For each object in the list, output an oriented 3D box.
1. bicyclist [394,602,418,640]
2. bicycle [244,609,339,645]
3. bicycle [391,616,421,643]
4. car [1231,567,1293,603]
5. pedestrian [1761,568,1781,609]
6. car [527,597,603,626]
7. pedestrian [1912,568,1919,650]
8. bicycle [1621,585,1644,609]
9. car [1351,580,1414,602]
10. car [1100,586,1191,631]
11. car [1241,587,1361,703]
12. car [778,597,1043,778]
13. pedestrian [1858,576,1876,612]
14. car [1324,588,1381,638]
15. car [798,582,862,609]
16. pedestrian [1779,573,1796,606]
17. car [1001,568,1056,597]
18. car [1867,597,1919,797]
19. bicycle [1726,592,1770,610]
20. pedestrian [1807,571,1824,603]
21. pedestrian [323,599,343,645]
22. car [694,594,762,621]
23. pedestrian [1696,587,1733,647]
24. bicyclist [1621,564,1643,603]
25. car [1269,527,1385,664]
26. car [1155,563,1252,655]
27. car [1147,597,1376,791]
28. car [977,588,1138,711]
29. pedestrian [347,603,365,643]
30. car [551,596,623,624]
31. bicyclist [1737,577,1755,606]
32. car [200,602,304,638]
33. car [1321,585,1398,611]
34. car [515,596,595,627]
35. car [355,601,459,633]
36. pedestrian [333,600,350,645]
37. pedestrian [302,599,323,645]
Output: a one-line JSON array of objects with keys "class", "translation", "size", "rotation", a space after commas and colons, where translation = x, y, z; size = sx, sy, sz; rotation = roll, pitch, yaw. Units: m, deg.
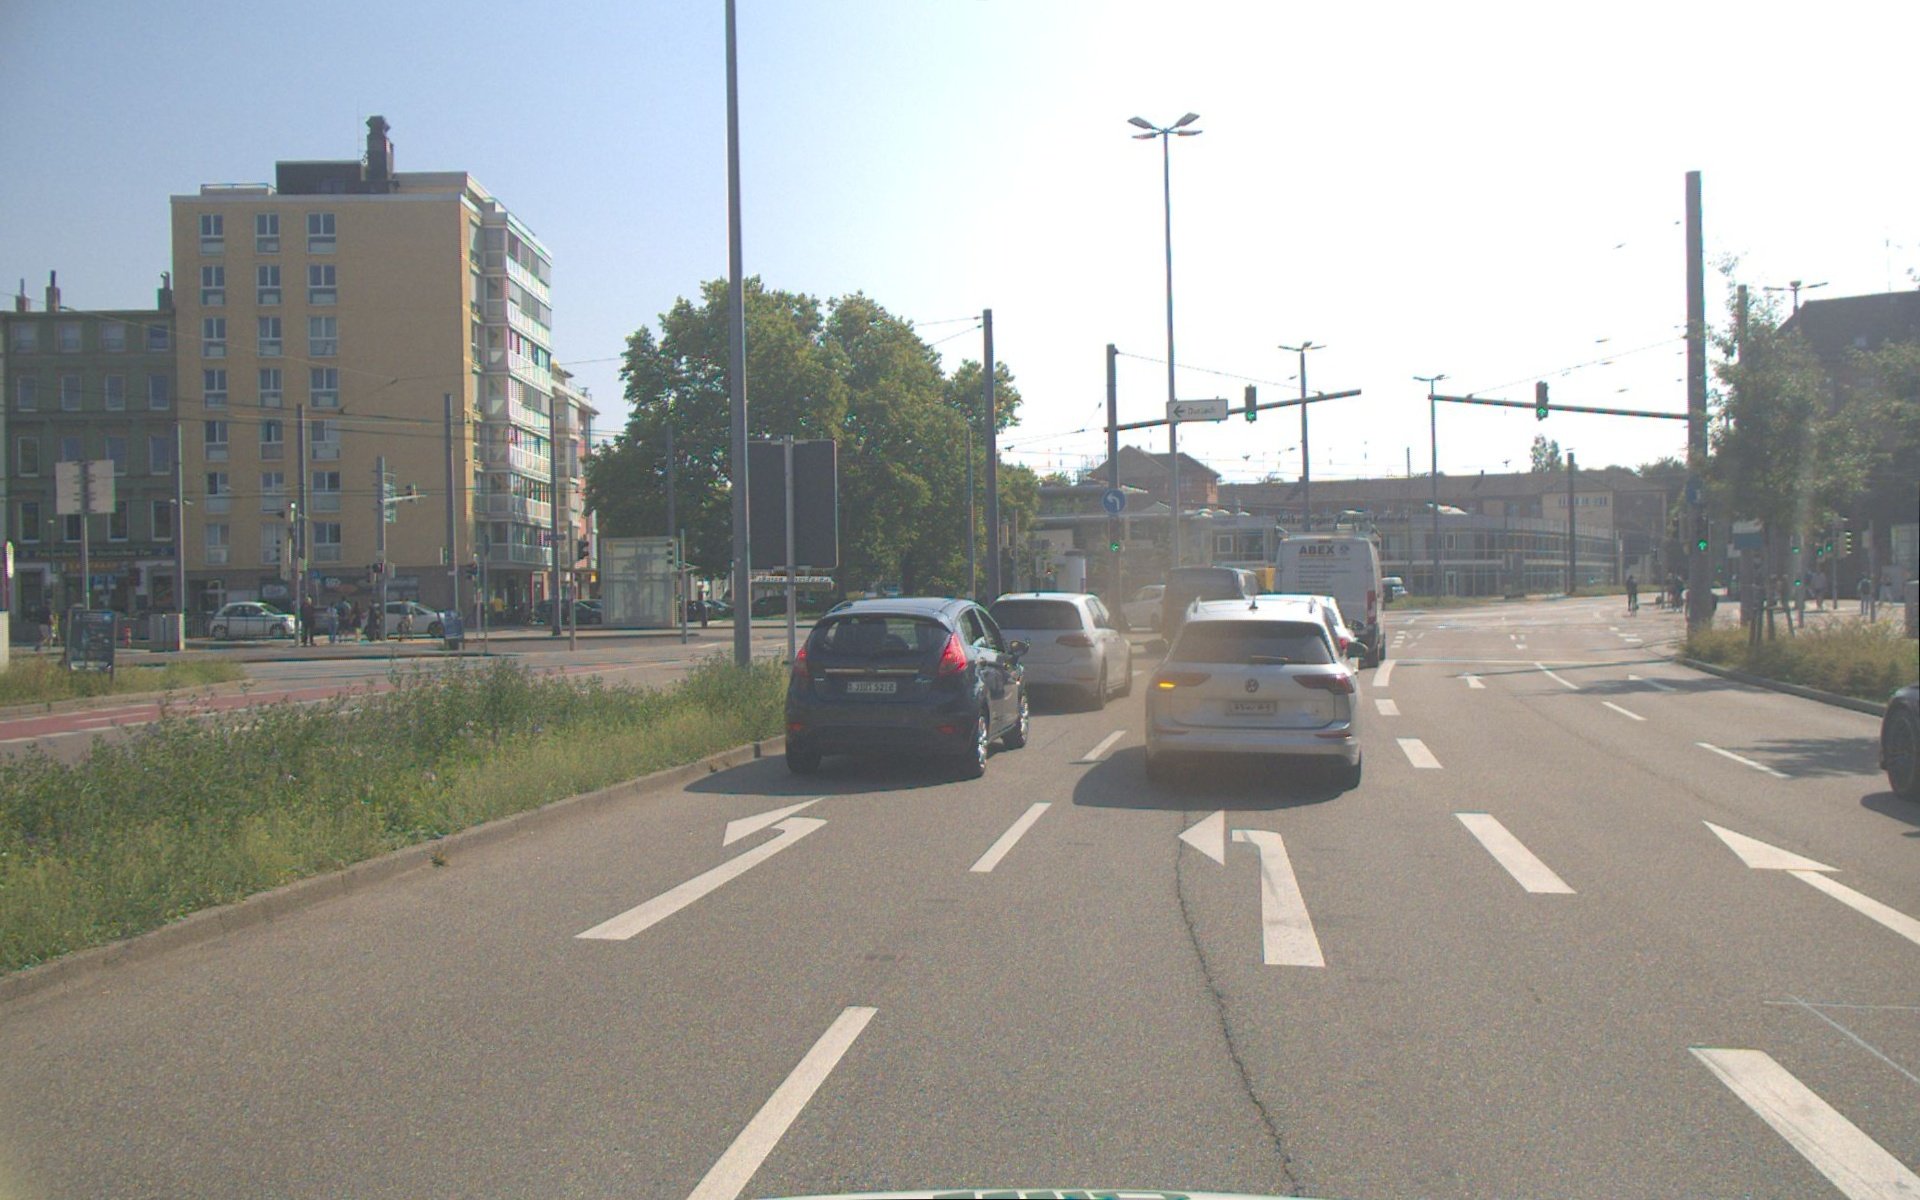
[{"class": "bicyclist", "translation": [-21.531, 0.796, 64.242], "size": [0.711, 1.459, 0.689], "rotation": [-1, 0, -5]}, {"class": "bicycle", "translation": [-31.535, 1.272, 78.086], "size": [3.908, 1.578, 1.195], "rotation": [-1, 3, -3]}, {"class": "bicycle", "translation": [-21.528, 1.147, 64.271], "size": [0.713, 1.001, 1.730], "rotation": [-1, 0, -5]}, {"class": "car", "translation": [17.768, -0.872, 97.190], "size": [1.957, 2.049, 4.652], "rotation": [-1, 0, 32]}, {"class": "pedestrian", "translation": [38.706, -0.564, 78.934], "size": [0.788, 1.922, 0.748], "rotation": [-1, 0, 25]}, {"class": "car", "translation": [-22.618, 0.665, 94.834], "size": [3.861, 1.585, 1.794], "rotation": [-1, 0, -1]}, {"class": "pedestrian", "translation": [19.872, 0.177, 33.857], "size": [0.603, 1.667, 0.532], "rotation": [-1, 0, 32]}, {"class": "bicycle", "translation": [28.034, -0.130, 68.958], "size": [0.756, 0.993, 2.151], "rotation": [-1, 0, 19]}, {"class": "car", "translation": [29.832, -0.666, 116.904], "size": [3.904, 1.467, 2.000], "rotation": [-1, 0, 1]}, {"class": "car", "translation": [6.582, 0.296, 59.063], "size": [1.599, 1.528, 4.063], "rotation": [0, 0, -21]}, {"class": "car", "translation": [4.657, 0.569, 22.572], "size": [1.457, 1.427, 3.945], "rotation": [-1, 0, 12]}, {"class": "car", "translation": [-0.301, 0.679, 14.888], "size": [1.665, 1.392, 3.967], "rotation": [-1, 0, 9]}, {"class": "pedestrian", "translation": [35.789, -0.256, 65.269], "size": [0.645, 1.384, 0.658], "rotation": [0, 2, 29]}, {"class": "car", "translation": [11.867, 0.375, 50.056], "size": [1.602, 1.428, 3.690], "rotation": [-1, 0, 13]}, {"class": "car", "translation": [-8.243, -0.290, 105.179], "size": [3.907, 1.585, 1.727], "rotation": [-1, 0, -2]}, {"class": "pedestrian", "translation": [35.596, -0.465, 71.147], "size": [0.645, 1.384, 0.658], "rotation": [0, 2, 29]}, {"class": "car", "translation": [5.120, -1.333, 123.803], "size": [3.902, 2.048, 2.002], "rotation": [0, 3, 9]}, {"class": "car", "translation": [7.718, 0.722, 10.643], "size": [1.781, 1.465, 4.878], "rotation": [0, 0, 9]}, {"class": "bicycle", "translation": [40.539, 0.057, 85.112], "size": [2.013, 0.910, 0.745], "rotation": [-1, 0, 30]}, {"class": "pedestrian", "translation": [37.536, -0.576, 72.558], "size": [0.645, 1.384, 0.658], "rotation": [0, 2, 29]}, {"class": "pedestrian", "translation": [-24.009, 0.844, 63.319], "size": [0.445, 1.714, 0.548], "rotation": [0, 2, 11]}, {"class": "car", "translation": [-13.968, 0.451, 99.770], "size": [3.907, 1.585, 1.727], "rotation": [-1, 0, -2]}, {"class": "pedestrian", "translation": [17.595, 0.398, 38.573], "size": [0.622, 1.386, 0.634], "rotation": [-1, 0, 8]}, {"class": "bicyclist", "translation": [28.026, -0.704, 68.971], "size": [0.756, 1.606, 0.991], "rotation": [-1, 0, 19]}, {"class": "car", "translation": [7.597, -0.074, 34.010], "size": [2.142, 2.594, 4.687], "rotation": [-1, 0, 14]}, {"class": "car", "translation": [5.838, 0.202, 39.257], "size": [1.980, 2.043, 4.688], "rotation": [-1, 0, 12]}, {"class": "car", "translation": [2.579, 0.693, 13.944], "size": [1.649, 1.412, 3.637], "rotation": [-1, 0, 12]}, {"class": "car", "translation": [1.366, 0.592, 21.808], "size": [1.457, 1.440, 3.651], "rotation": [-1, 1, 14]}, {"class": "pedestrian", "translation": [-23.617, 0.910, 64.703], "size": [0.494, 1.513, 0.434], "rotation": [-3, 3, -40]}, {"class": "car", "translation": [-22.298, 0.600, 99.009], "size": [3.907, 1.585, 1.868], "rotation": [-1, 0, -2]}, {"class": "bicyclist", "translation": [40.467, -0.428, 85.150], "size": [0.789, 1.486, 0.747], "rotation": [-1, 0, 30]}, {"class": "car", "translation": [-29.910, 0.840, 69.954], "size": [3.661, 1.417, 1.586], "rotation": [-1, 0, -1]}, {"class": "car", "translation": [21.812, -0.122, 90.438], "size": [3.881, 1.366, 1.932], "rotation": [-1, 0, 6]}, {"class": "car", "translation": [-22.475, 0.634, 91.873], "size": [3.906, 1.584, 1.869], "rotation": [-1, 3, -1]}, {"class": "car", "translation": [-22.440, 0.691, 67.198], "size": [3.759, 1.200, 1.572], "rotation": [-1, -1, -10]}, {"class": "pedestrian", "translation": [-24.053, 0.856, 64.351], "size": [0.452, 1.714, 0.434], "rotation": [-3, 3, -40]}, {"class": "pedestrian", "translation": [-24.617, 0.842, 62.903], "size": [0.445, 1.714, 0.547], "rotation": [0, 3, 23]}]
